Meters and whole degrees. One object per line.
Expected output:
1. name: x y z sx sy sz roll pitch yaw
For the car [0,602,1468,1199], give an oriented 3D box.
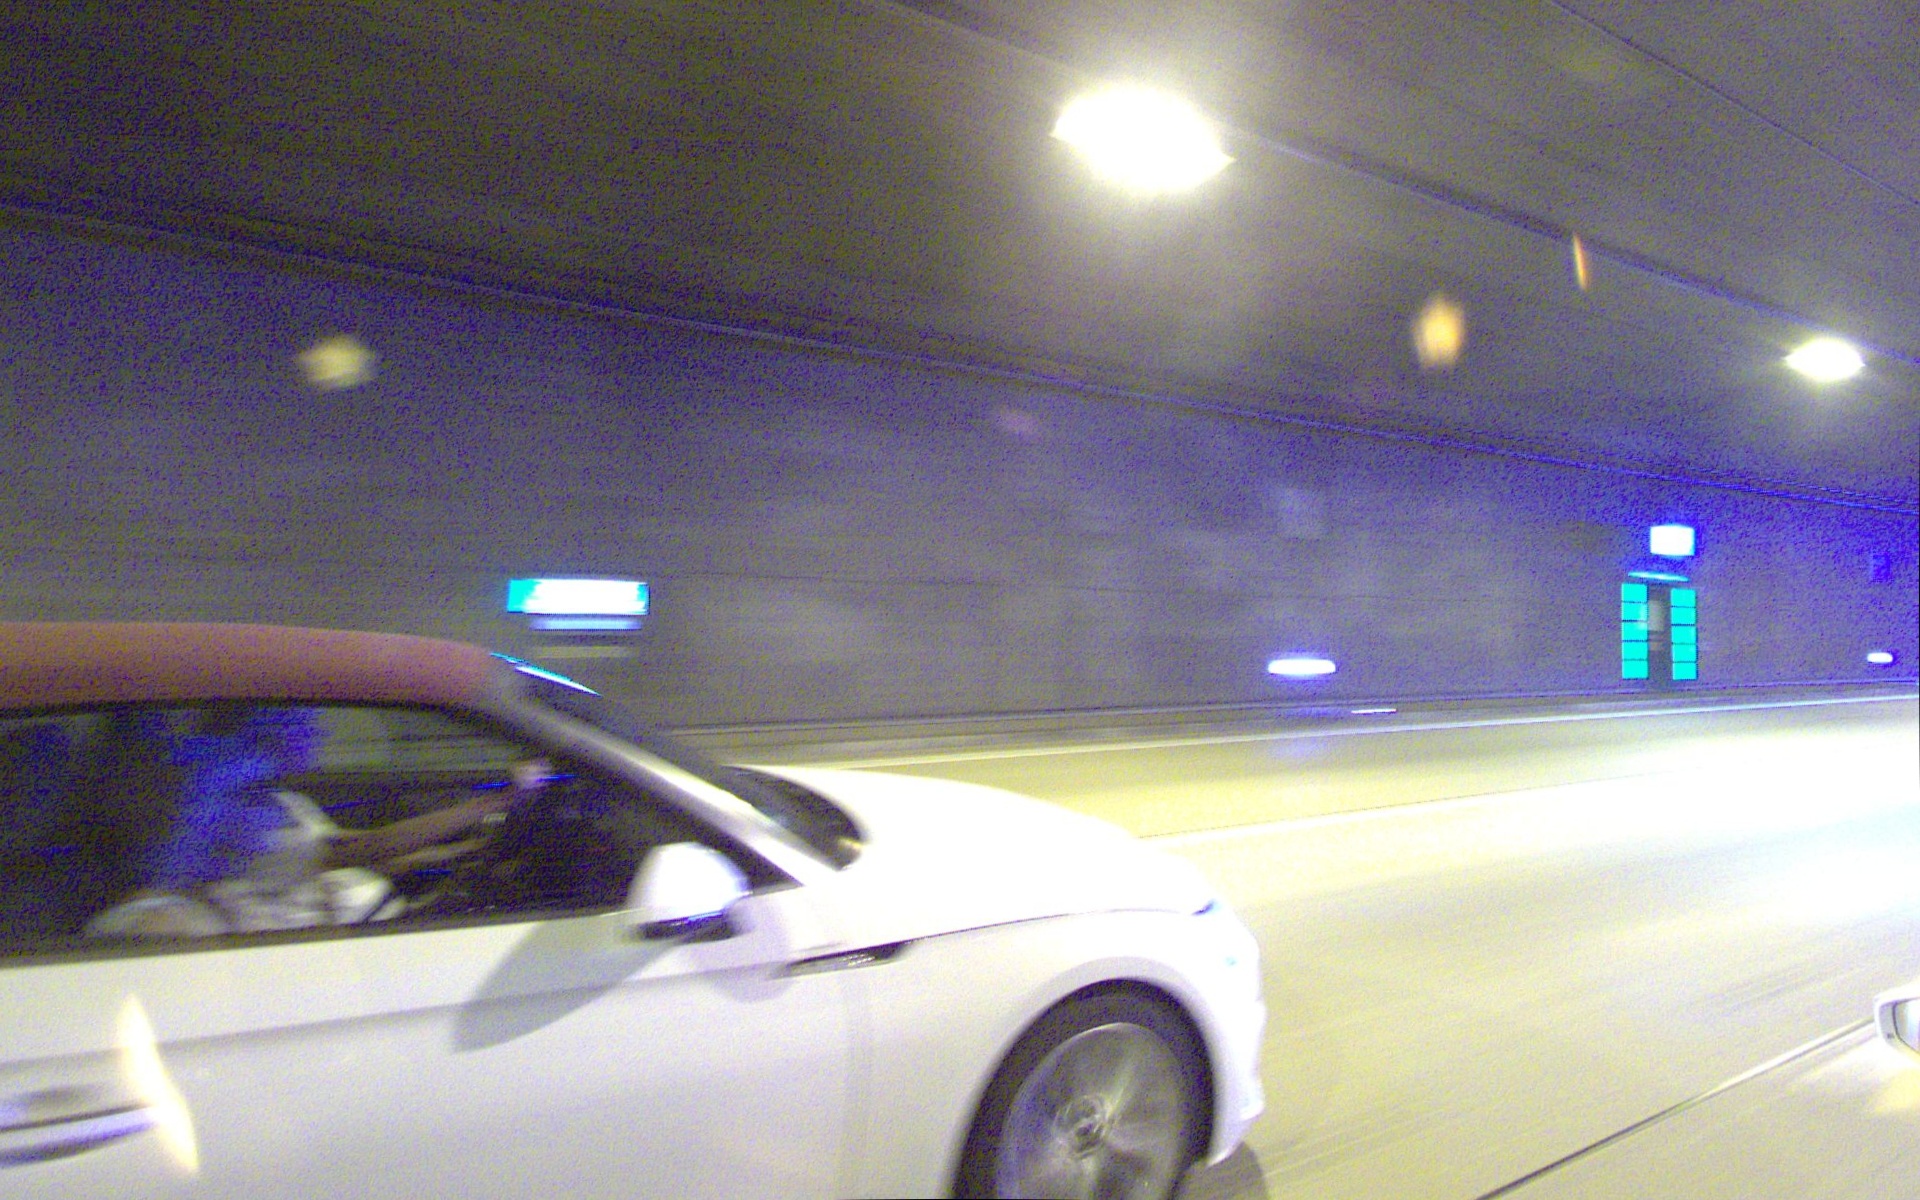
1. car: -1.177 0.752 2.186 5.003 1.438 1.693 2 -1 -31
